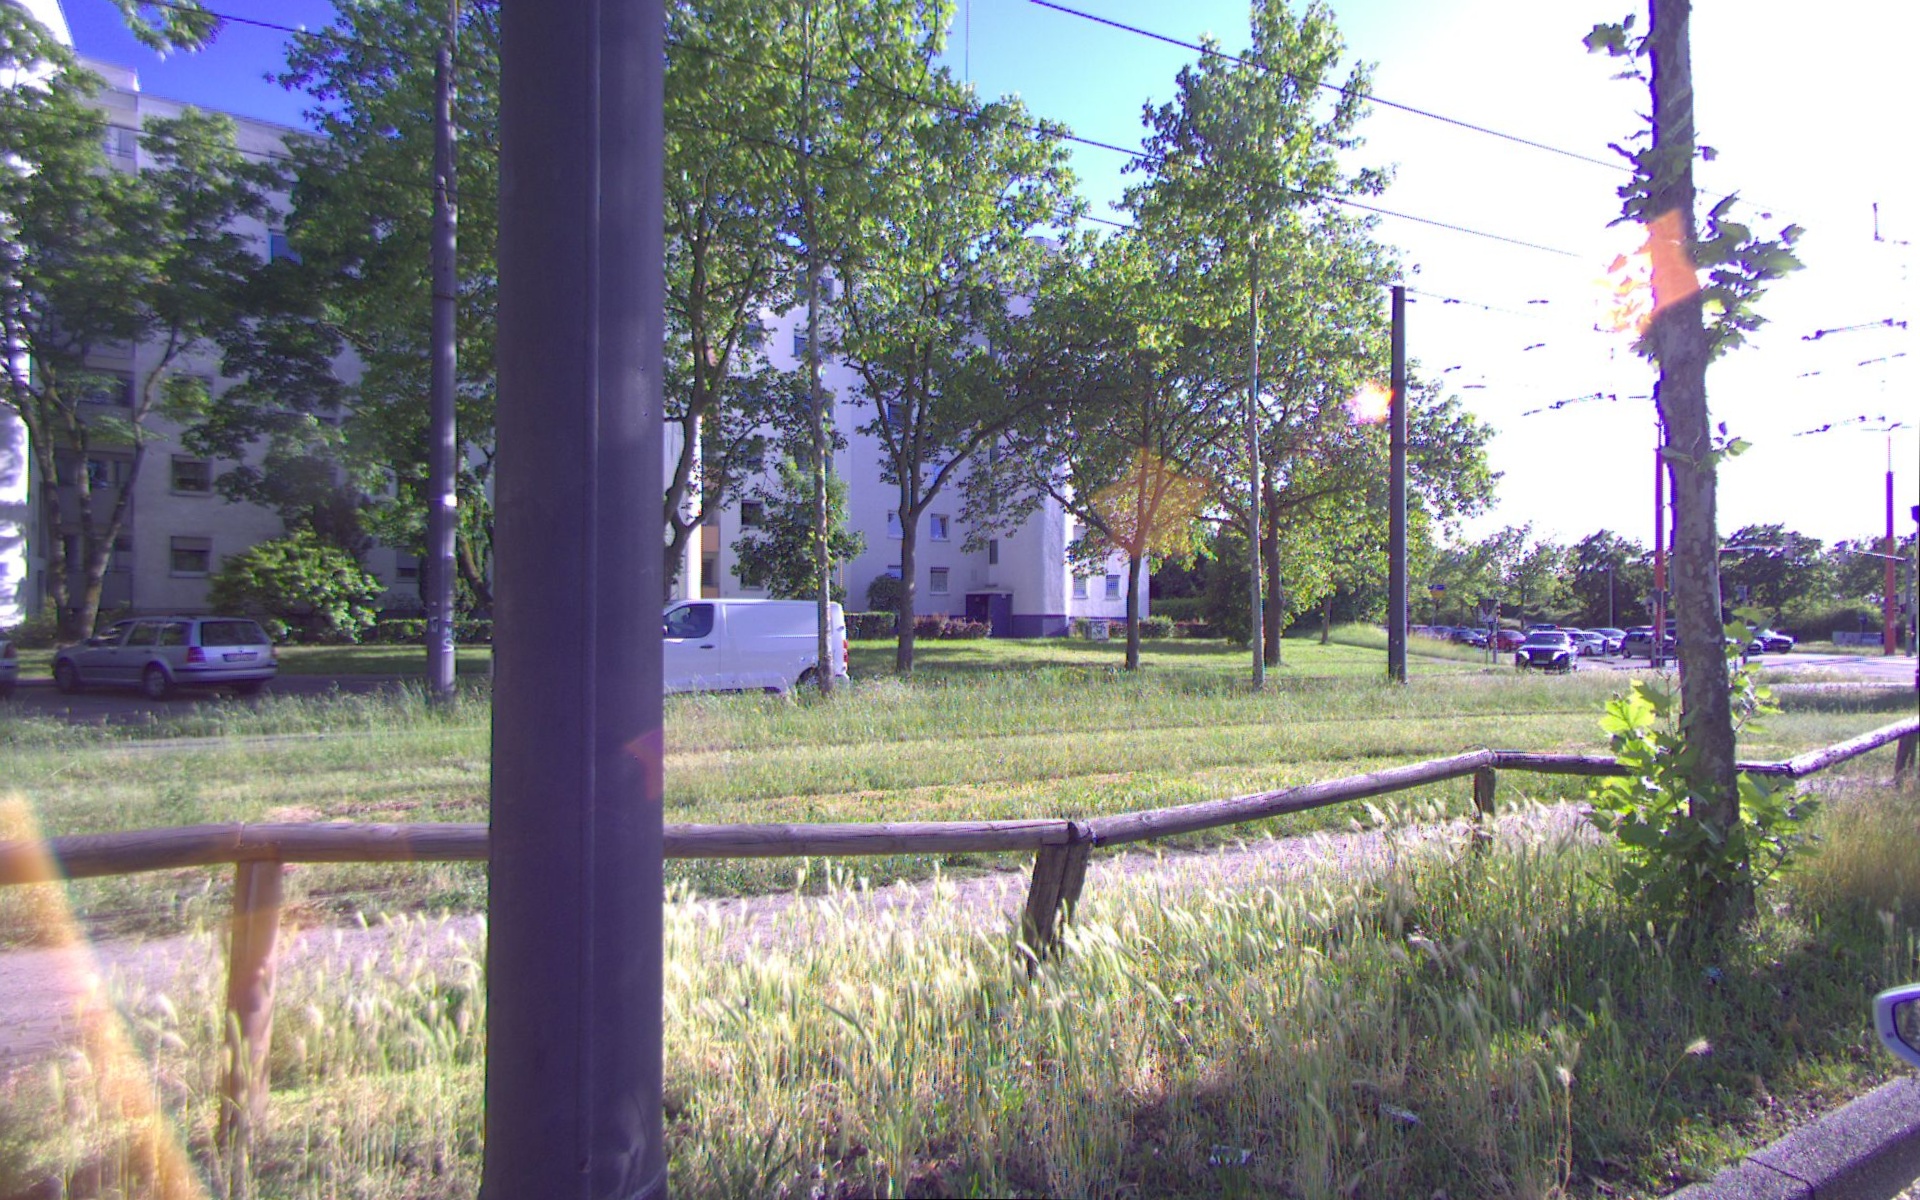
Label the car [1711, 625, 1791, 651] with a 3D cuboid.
[{"bbox_3d":[48.653,2.323,61.890,1.513,1.434,4.154,1,-1,-3],"label":"car"}]

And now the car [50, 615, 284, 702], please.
[{"bbox_3d":[-14.537,1.012,18.426,3.830,1.421,1.581,1,0,20],"label":"car"}]

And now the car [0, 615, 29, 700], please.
[{"bbox_3d":[-17.987,0.949,17.152,3.567,1.421,1.581,1,0,20],"label":"car"}]

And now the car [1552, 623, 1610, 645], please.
[{"bbox_3d":[45.303,2.460,73.324,1.513,1.434,4.154,1,-1,-3],"label":"car"}]

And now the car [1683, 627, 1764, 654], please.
[{"bbox_3d":[45.574,2.394,60.056,1.513,1.434,4.154,1,-1,-3],"label":"car"}]

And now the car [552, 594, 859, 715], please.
[{"bbox_3d":[-4.334,0.883,17.383,4.845,1.845,1.818,1,-1,-31],"label":"car"}]

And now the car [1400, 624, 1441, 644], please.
[{"bbox_3d":[38.644,2.819,84.387,1.624,1.540,4.200,1,-1,1],"label":"car"}]

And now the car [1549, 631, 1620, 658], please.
[{"bbox_3d":[38.918,2.757,62.730,1.624,1.540,4.638,1,-1,1],"label":"car"}]

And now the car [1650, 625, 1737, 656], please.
[{"bbox_3d":[42.327,2.309,58.099,1.624,1.669,4.644,1,-1,1],"label":"car"}]

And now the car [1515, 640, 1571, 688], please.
[{"bbox_3d":[22.994,2.462,39.538,1.629,1.640,4.282,1,-1,34],"label":"car"}]

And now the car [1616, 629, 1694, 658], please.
[{"bbox_3d":[38.965,2.409,56.443,1.624,1.460,3.841,1,-1,-2],"label":"car"}]

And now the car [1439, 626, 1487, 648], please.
[{"bbox_3d":[38.661,2.819,77.248,1.624,1.540,4.200,1,-1,1],"label":"car"}]

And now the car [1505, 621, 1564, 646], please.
[{"bbox_3d":[42.270,2.434,74.064,1.721,1.669,4.644,1,-1,1],"label":"car"}]

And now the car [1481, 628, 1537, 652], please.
[{"bbox_3d":[38.448,2.779,70.445,1.624,1.540,4.200,1,-1,1],"label":"car"}]
